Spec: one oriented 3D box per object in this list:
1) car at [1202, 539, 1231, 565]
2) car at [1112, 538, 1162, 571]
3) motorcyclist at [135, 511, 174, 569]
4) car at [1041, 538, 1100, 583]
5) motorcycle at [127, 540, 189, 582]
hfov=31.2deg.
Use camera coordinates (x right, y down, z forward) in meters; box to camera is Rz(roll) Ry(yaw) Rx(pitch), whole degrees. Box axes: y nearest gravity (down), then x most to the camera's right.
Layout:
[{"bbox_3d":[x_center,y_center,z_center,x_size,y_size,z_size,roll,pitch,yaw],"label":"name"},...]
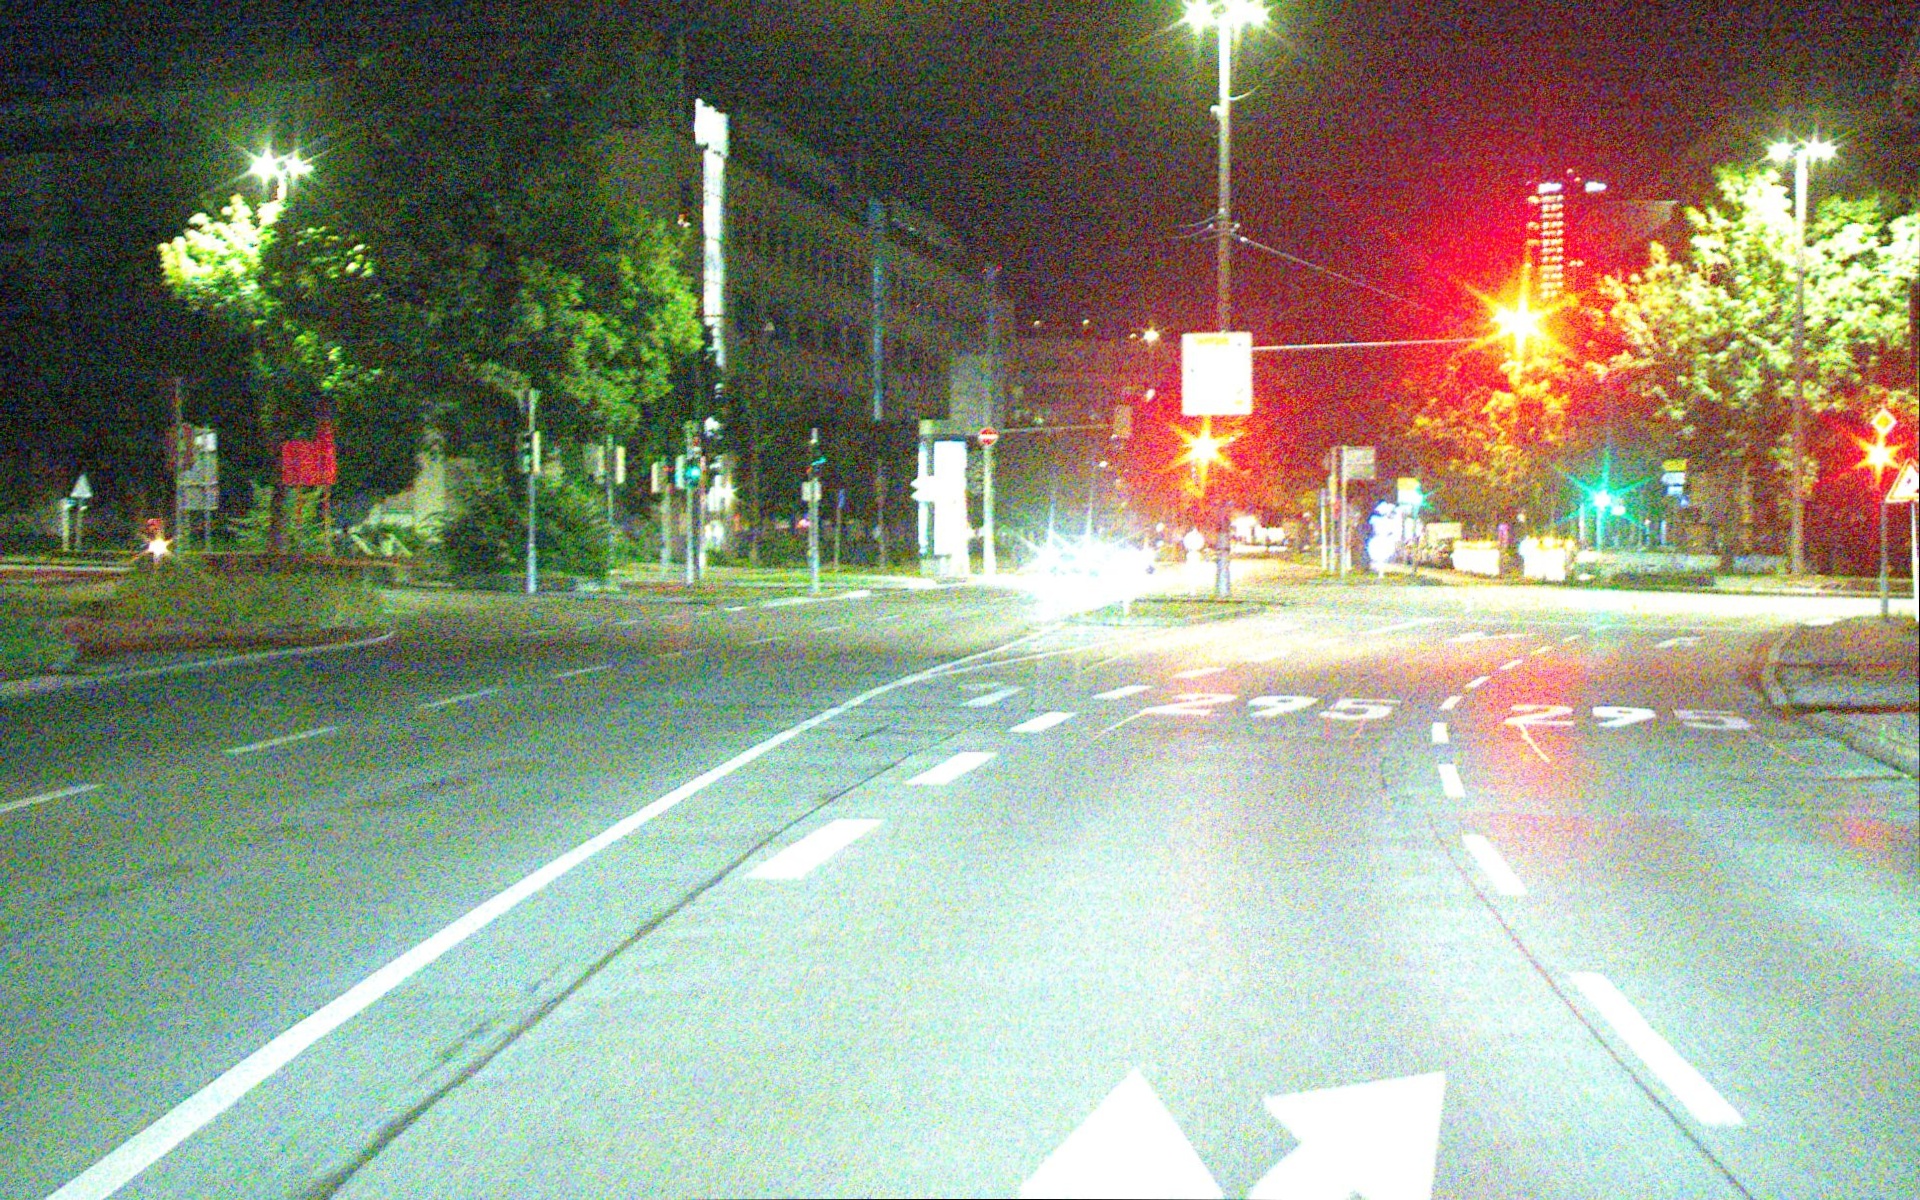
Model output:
[{"bbox_3d":[17.347,-3.251,232.559,1.758,1.722,3.546,1,1,7],"label":"car"},{"bbox_3d":[7.351,-1.896,142.540,1.758,1.317,3.546,1,1,7],"label":"car"},{"bbox_3d":[-17.869,-1.331,76.260,0.646,1.257,0.579,1,1,-35],"label":"motorcyclist"},{"bbox_3d":[3.859,-1.364,119.441,1.616,1.509,3.999,1,1,8],"label":"car"},{"bbox_3d":[-17.868,-0.875,76.559,0.578,0.893,2.155,-2,2,-35],"label":"motorcycle"}]
